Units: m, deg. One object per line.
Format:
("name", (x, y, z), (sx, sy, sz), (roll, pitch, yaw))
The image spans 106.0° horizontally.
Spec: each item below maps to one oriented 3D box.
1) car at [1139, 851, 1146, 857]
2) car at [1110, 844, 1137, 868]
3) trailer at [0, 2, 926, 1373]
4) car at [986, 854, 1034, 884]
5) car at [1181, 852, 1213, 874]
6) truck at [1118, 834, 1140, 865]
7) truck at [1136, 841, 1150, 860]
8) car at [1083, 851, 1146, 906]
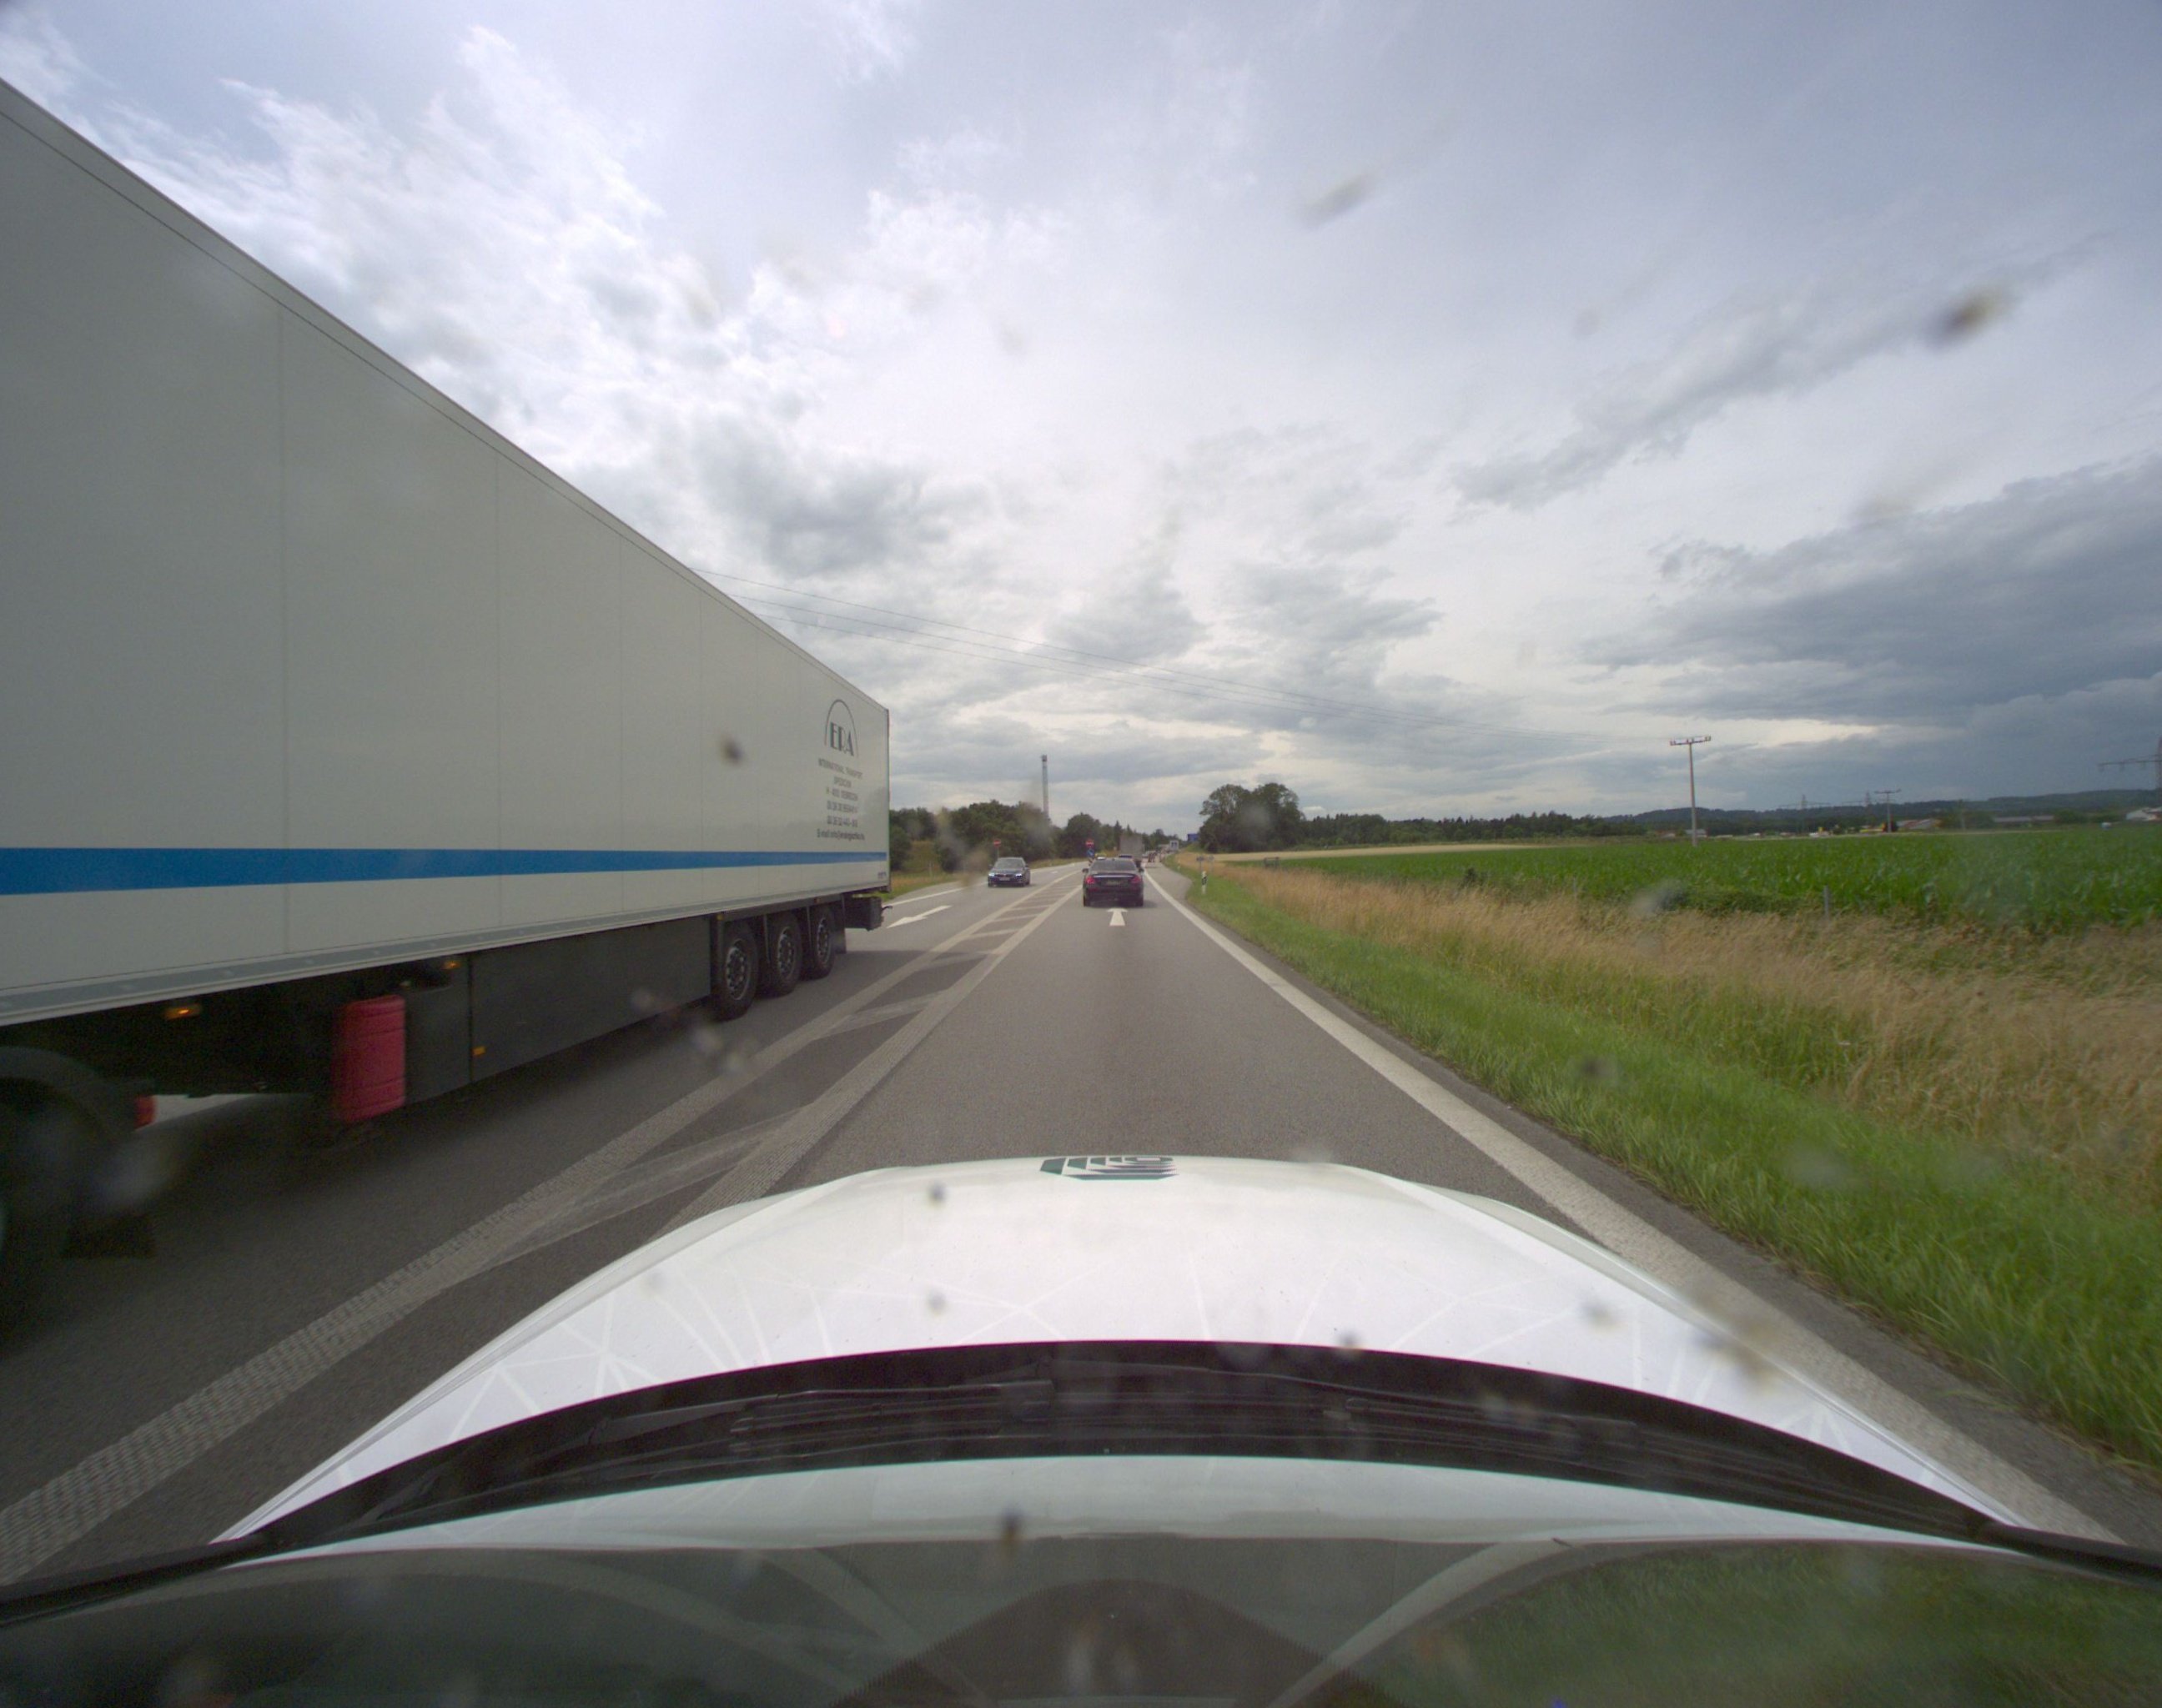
("car", (15.672, -0.001, 209.024), (1.643, 1.395, 3.707), (0, -1, 2))
("car", (3.666, 0.195, 70.734), (1.989, 2.014, 3.995), (0, -1, -3))
("trailer", (-4.223, -0.505, 8.060), (2.480, 3.995, 13.080), (-1, 0, 2))
("car", (-3.614, 0.777, 42.525), (1.850, 1.479, 5.200), (0, -1, 2))
("car", (9.000, 0.722, 63.520), (1.791, 1.662, 3.995), (0, -1, -3))
("truck", (5.690, -0.529, 95.907), (2.575, 3.524, 4.818), (0, -1, 5))
("truck", (11.499, -0.569, 150.569), (1.989, 3.526, 4.587), (0, -1, -3))
("car", (1.106, 0.726, 25.421), (1.788, 1.560, 4.004), (0, -1, 4))
